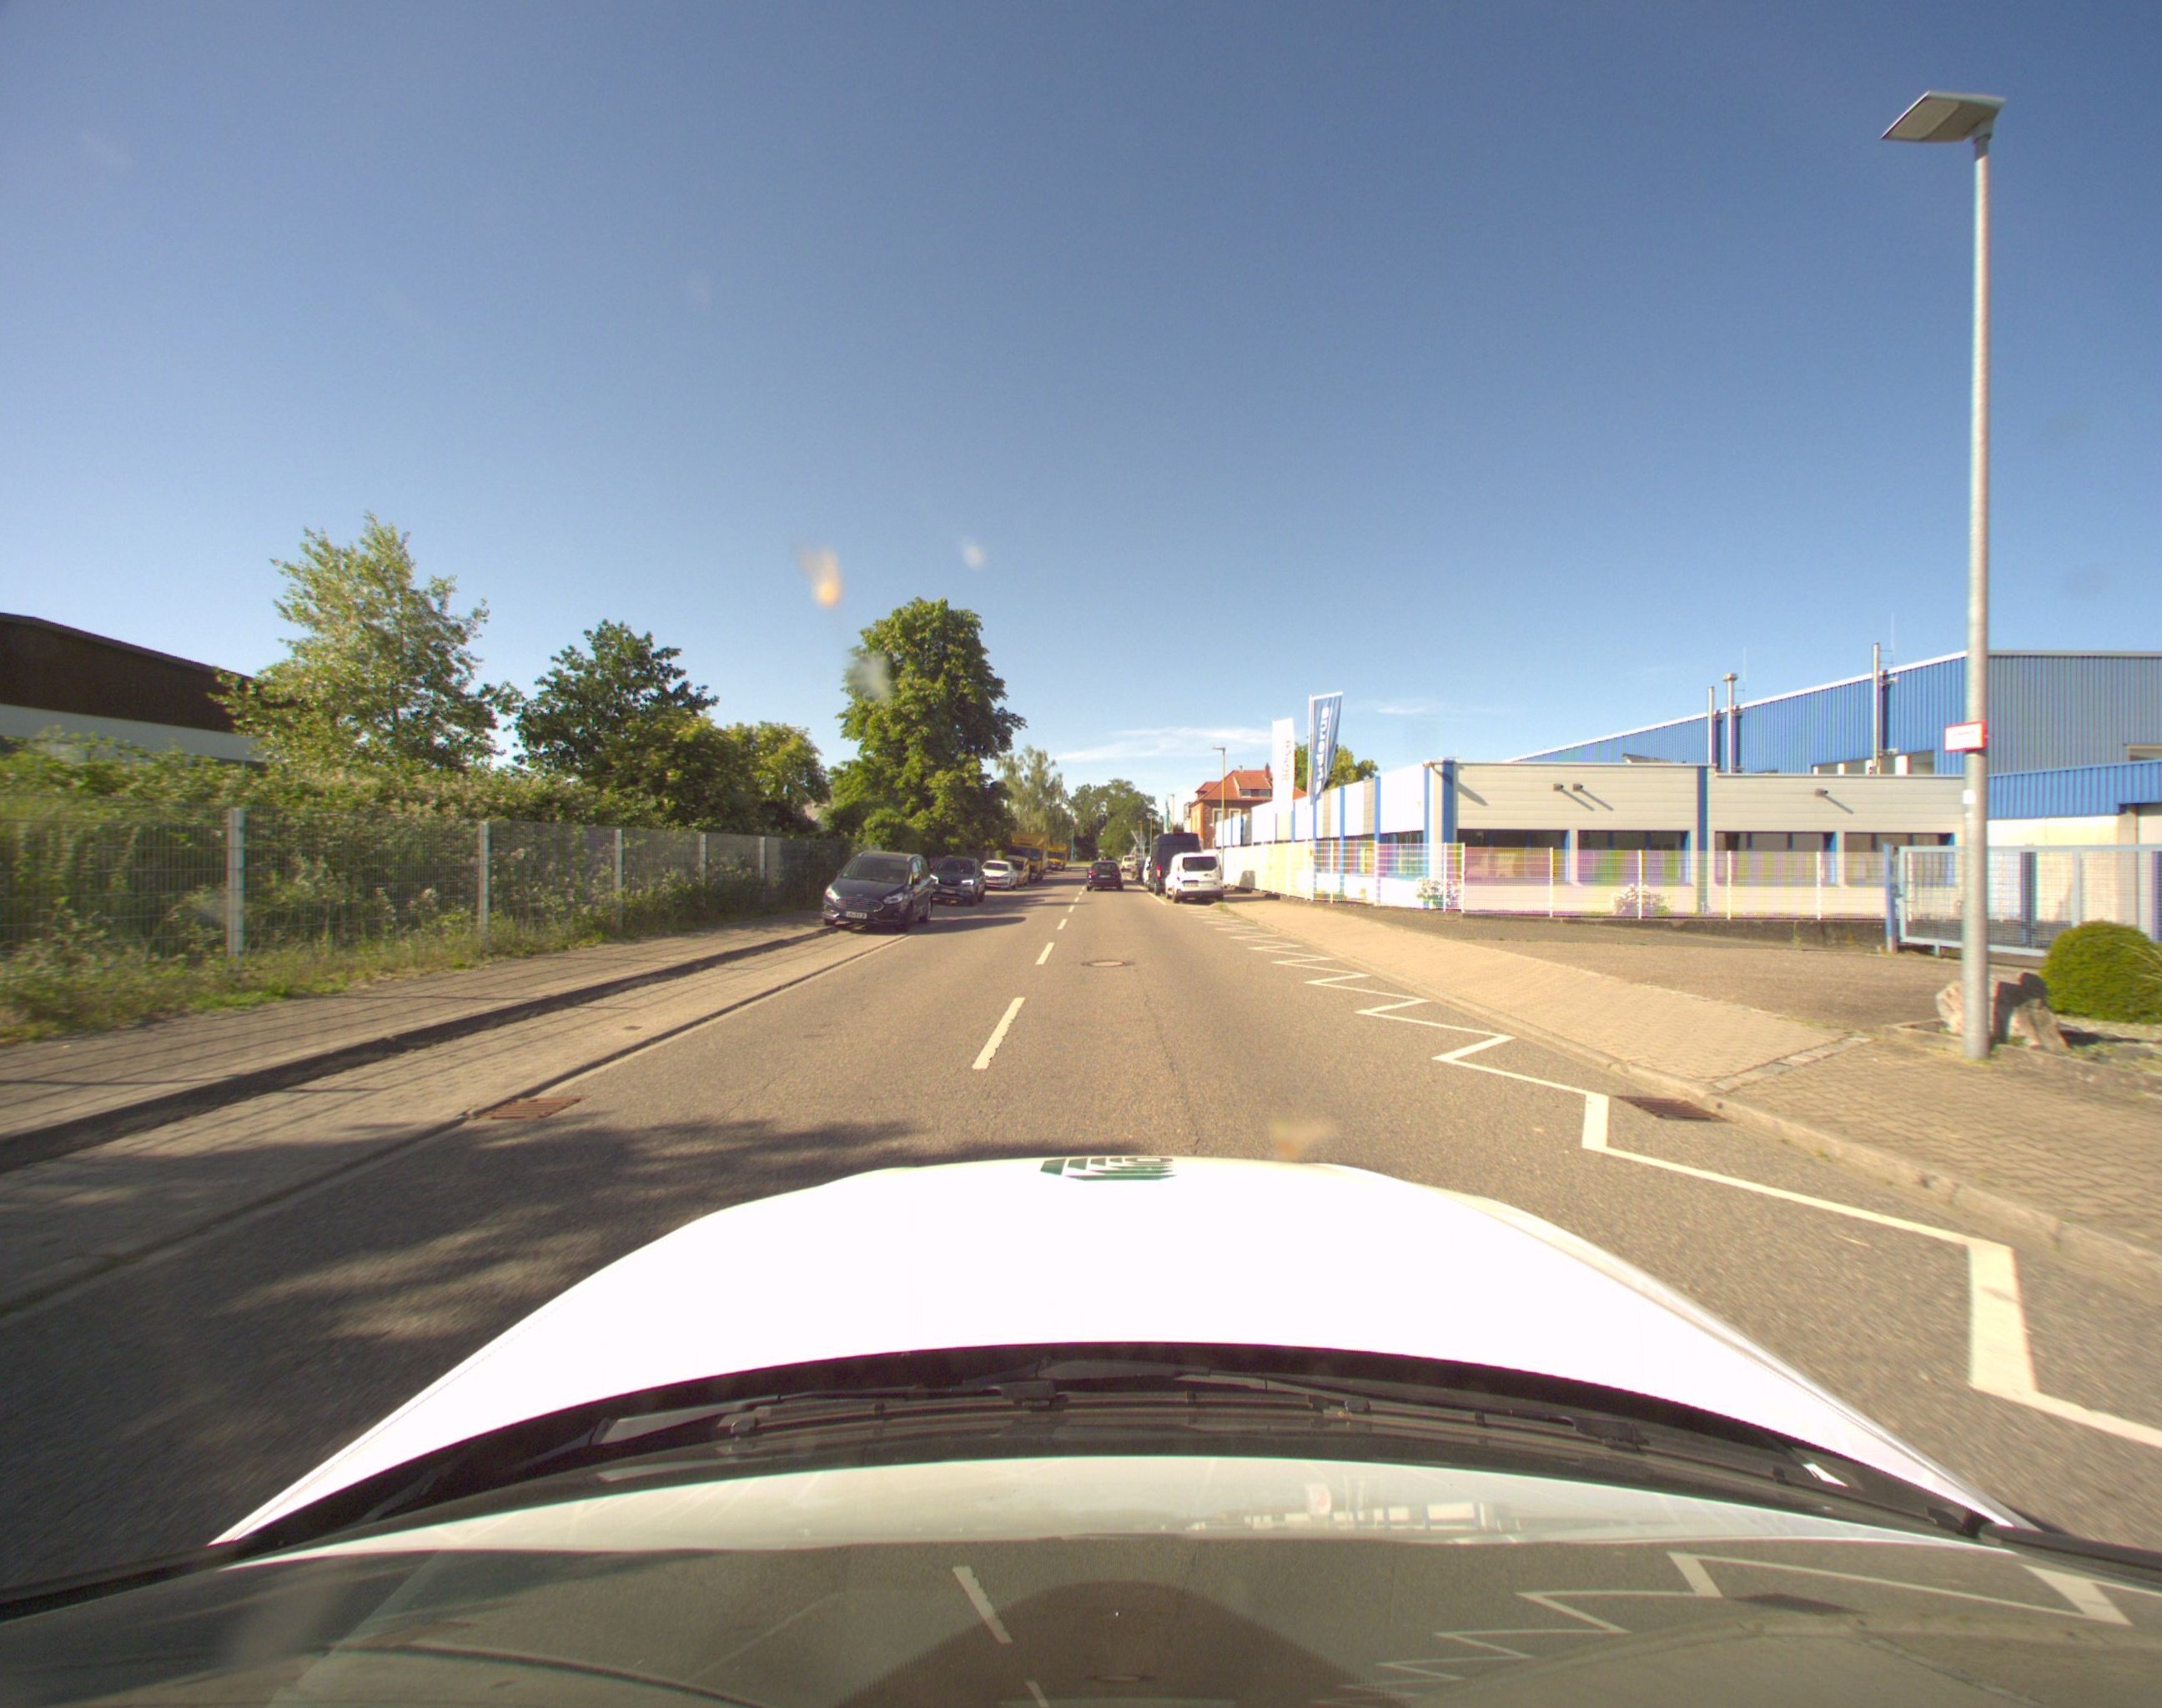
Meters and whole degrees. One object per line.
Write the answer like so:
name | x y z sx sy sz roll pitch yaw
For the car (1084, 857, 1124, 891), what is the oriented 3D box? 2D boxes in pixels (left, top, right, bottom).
car | 1.158 0.941 39.913 1.840 1.530 4.002 0 0 2

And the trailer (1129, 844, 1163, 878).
trailer | 5.287 0.534 67.044 2.451 2.673 5.703 0 0 1

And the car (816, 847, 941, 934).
car | -4.654 0.755 19.440 1.787 1.730 4.799 3 0 -1

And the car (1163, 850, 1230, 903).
car | 4.300 0.818 31.152 1.879 1.797 5.104 2 -1 1

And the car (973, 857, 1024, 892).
car | -4.330 1.027 43.499 1.900 1.593 5.028 4 0 2

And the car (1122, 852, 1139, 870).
car | 5.860 0.880 97.672 1.867 2.014 5.162 2 -1 2

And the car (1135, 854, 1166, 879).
car | 5.113 0.914 60.564 1.986 1.667 4.733 2 -1 2

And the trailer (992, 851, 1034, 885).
trailer | -4.071 0.814 49.426 1.986 1.941 4.416 0 0 2

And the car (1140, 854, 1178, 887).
car | 4.611 0.976 48.829 1.848 1.830 5.170 2 -1 2

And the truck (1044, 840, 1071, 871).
truck | -2.948 0.119 103.946 2.622 3.504 8.661 6 1 2

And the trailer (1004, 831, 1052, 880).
trailer | -3.812 0.123 60.341 2.981 3.443 8.161 0 0 0

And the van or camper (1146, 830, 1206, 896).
van or camper | 4.278 0.418 37.599 2.133 2.759 6.163 2 -1 2

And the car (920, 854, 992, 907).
car | -4.509 0.904 30.124 1.902 1.662 4.462 4 0 -1

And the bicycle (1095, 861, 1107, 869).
bicycle | 3.298 1.767 133.912 0.810 1.221 2.233 2 -1 -38

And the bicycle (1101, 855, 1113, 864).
bicycle | 4.157 0.865 130.173 0.809 1.268 2.235 2 -1 -33
